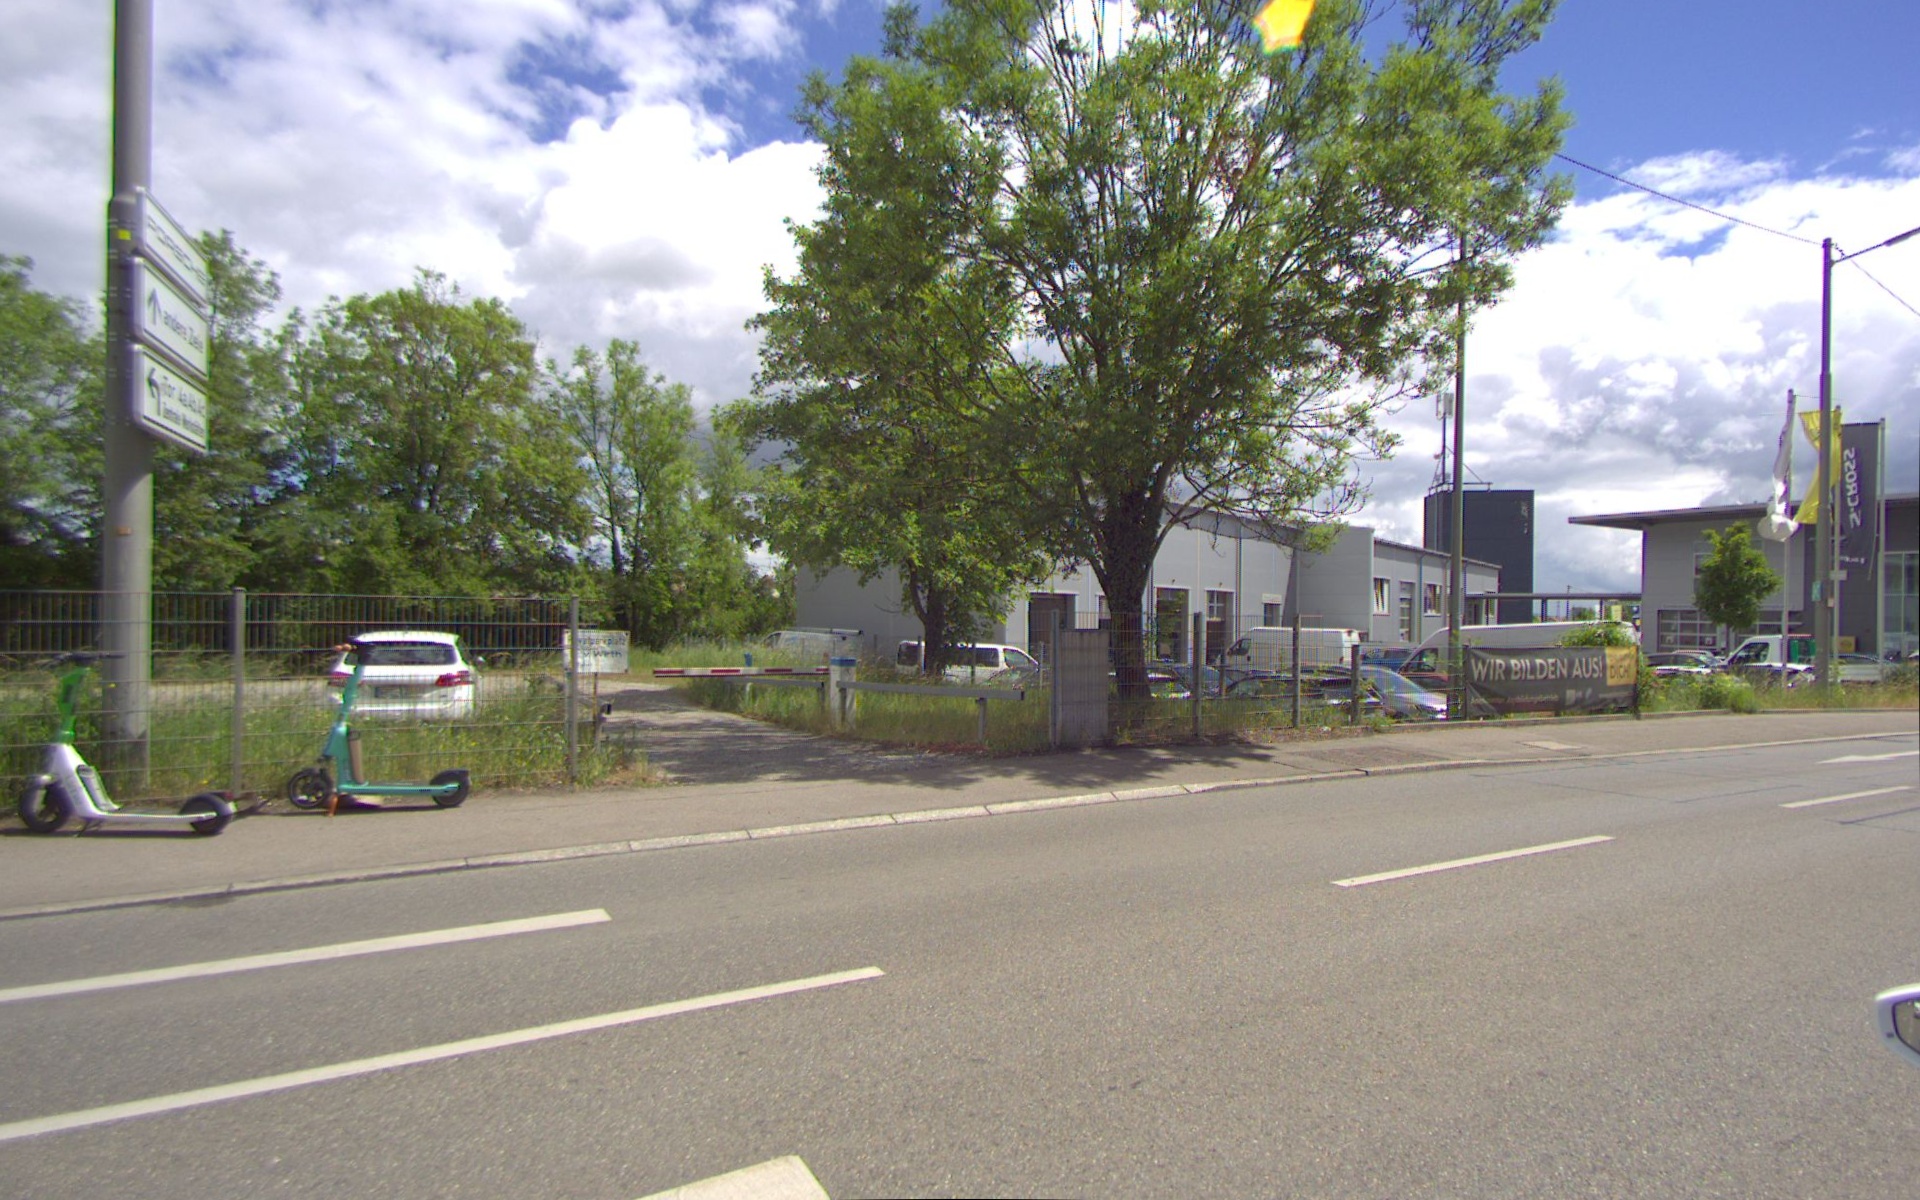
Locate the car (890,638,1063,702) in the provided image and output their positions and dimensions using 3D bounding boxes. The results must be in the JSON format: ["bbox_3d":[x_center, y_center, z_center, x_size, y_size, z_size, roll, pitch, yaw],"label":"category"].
[{"bbox_3d":[0.527,2.033,29.750,4.855,1.751,1.829,2,-1,-29],"label":"car"}]

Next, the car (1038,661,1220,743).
[{"bbox_3d":[3.547,2.140,21.802,1.802,1.404,4.016,3,-2,-28],"label":"car"}]

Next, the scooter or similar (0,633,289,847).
[{"bbox_3d":[-5.301,0.881,6.527,1.446,1.279,0.535,1,1,-13],"label":"scooter or similar"}]

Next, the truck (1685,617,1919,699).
[{"bbox_3d":[25.369,1.666,29.757,2.450,2.175,5.828,4,-3,-32],"label":"truck"}]

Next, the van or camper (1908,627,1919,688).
[{"bbox_3d":[42.752,2.443,41.356,2.291,2.564,5.003,1,0,-30],"label":"van or camper"}]

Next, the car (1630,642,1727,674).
[{"bbox_3d":[36.836,2.948,51.534,1.829,1.417,3.671,1,0,-35],"label":"car"}]

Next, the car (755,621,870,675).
[{"bbox_3d":[-5.290,1.662,35.687,4.113,1.751,1.833,0,-2,42],"label":"car"}]

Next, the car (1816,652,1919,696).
[{"bbox_3d":[34.277,2.709,36.872,1.977,1.428,3.966,1,0,-31],"label":"car"}]

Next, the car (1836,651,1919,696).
[{"bbox_3d":[36.195,2.807,38.176,1.974,1.511,3.972,1,0,-27],"label":"car"}]

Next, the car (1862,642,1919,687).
[{"bbox_3d":[39.929,2.667,41.157,1.973,1.728,3.976,1,0,-24],"label":"car"}]

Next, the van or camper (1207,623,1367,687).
[{"bbox_3d":[13.477,2.202,41.602,5.816,2.386,2.490,0,-1,42],"label":"van or camper"}]

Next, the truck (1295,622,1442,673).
[{"bbox_3d":[20.069,2.328,49.540,6.218,2.258,2.690,0,-3,40],"label":"truck"}]

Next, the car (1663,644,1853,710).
[{"bbox_3d":[22.859,2.169,28.916,1.906,1.630,3.867,3,-2,-30],"label":"car"}]

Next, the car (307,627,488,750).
[{"bbox_3d":[-7.698,1.120,14.122,1.841,1.399,4.264,2,-2,-25],"label":"car"}]

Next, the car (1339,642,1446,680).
[{"bbox_3d":[19.869,2.775,46.222,4.174,1.516,1.921,1,-2,38],"label":"car"}]

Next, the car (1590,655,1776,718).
[{"bbox_3d":[18.655,2.200,26.063,1.689,1.342,3.534,3,-2,-26],"label":"car"}]

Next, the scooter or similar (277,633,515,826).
[{"bbox_3d":[-4.069,0.904,7.358,1.452,1.283,0.533,1,1,-25],"label":"scooter or similar"}]

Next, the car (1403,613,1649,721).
[{"bbox_3d":[12.126,1.326,21.766,2.174,2.040,4.138,1,0,-32],"label":"car"}]

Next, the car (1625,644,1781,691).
[{"bbox_3d":[26.288,2.383,35.661,1.805,1.542,4.060,1,-3,-30],"label":"car"}]

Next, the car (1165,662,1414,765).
[{"bbox_3d":[5.754,1.942,18.010,1.905,1.404,4.015,3,-2,-29],"label":"car"}]

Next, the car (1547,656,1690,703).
[{"bbox_3d":[22.588,2.694,34.606,1.626,1.346,3.805,3,-2,-30],"label":"car"}]

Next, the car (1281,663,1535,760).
[{"bbox_3d":[8.261,2.010,18.880,1.905,1.404,4.016,3,-2,-28],"label":"car"}]

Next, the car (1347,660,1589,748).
[{"bbox_3d":[10.246,2.046,20.536,1.907,1.404,4.012,3,-2,-31],"label":"car"}]
